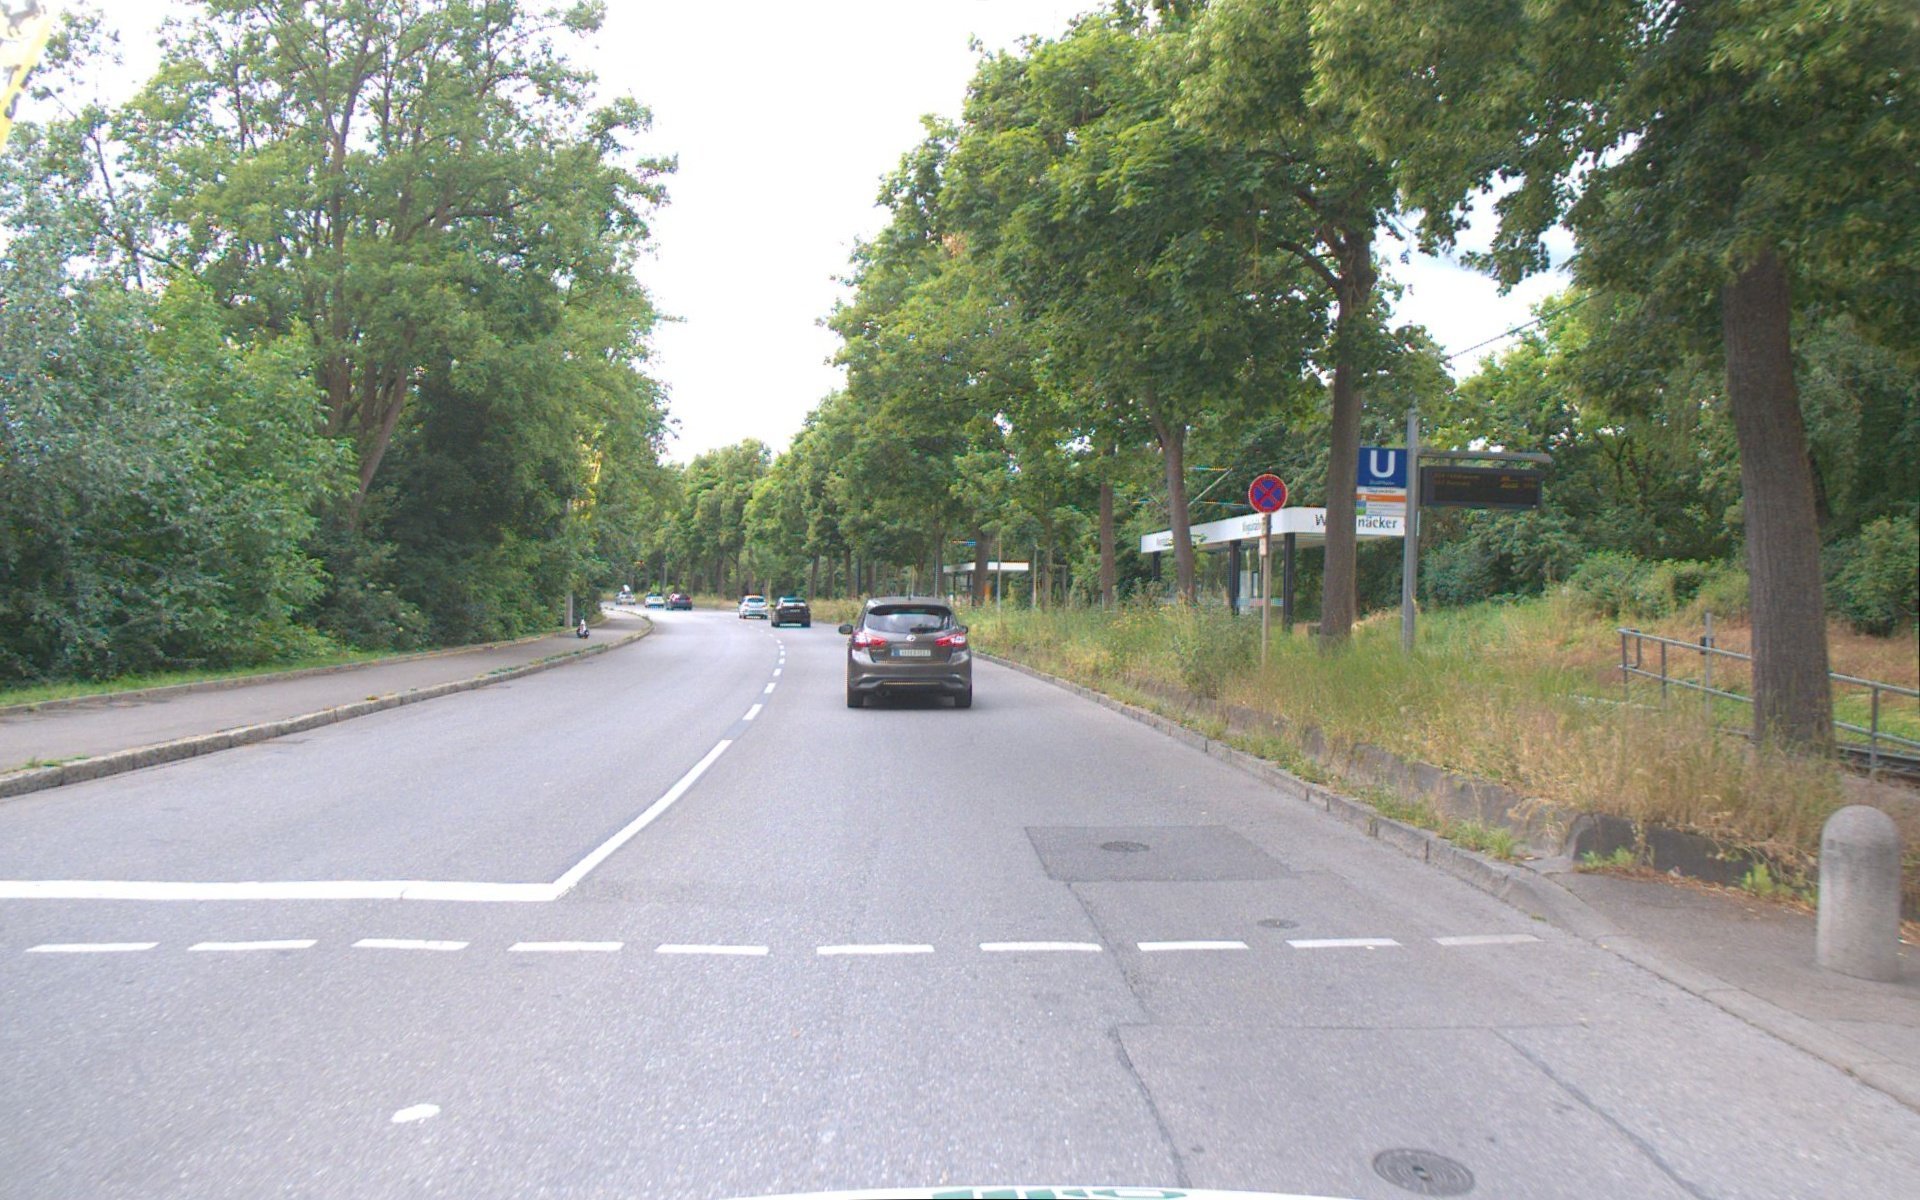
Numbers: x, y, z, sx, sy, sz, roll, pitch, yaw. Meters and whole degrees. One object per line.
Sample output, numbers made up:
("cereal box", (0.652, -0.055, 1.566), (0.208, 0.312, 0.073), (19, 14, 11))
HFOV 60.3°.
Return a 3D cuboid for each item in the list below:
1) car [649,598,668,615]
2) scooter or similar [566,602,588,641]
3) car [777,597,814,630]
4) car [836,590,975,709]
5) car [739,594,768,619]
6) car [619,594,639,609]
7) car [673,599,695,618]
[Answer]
("car", (-29.476, 0.600, 161.786), (1.744, 1.497, 3.989), (2, 0, -11))
("scooter or similar", (-12.340, 0.680, 53.269), (0.360, 1.205, 1.286), (2, -1, -27))
("car", (-8.187, 0.661, 82.521), (1.741, 1.497, 3.996), (3, 0, -5))
("car", (-0.875, 0.656, 24.192), (1.781, 1.534, 3.996), (0, 1, -6))
("car", (-13.619, 0.433, 108.941), (1.743, 1.497, 3.992), (3, 0, -8))
("car", (-36.281, 0.174, 181.505), (1.742, 1.497, 3.995), (3, 0, -6))
("car", (-24.427, 0.713, 146.399), (1.744, 1.497, 3.991), (5, -1, -10))
